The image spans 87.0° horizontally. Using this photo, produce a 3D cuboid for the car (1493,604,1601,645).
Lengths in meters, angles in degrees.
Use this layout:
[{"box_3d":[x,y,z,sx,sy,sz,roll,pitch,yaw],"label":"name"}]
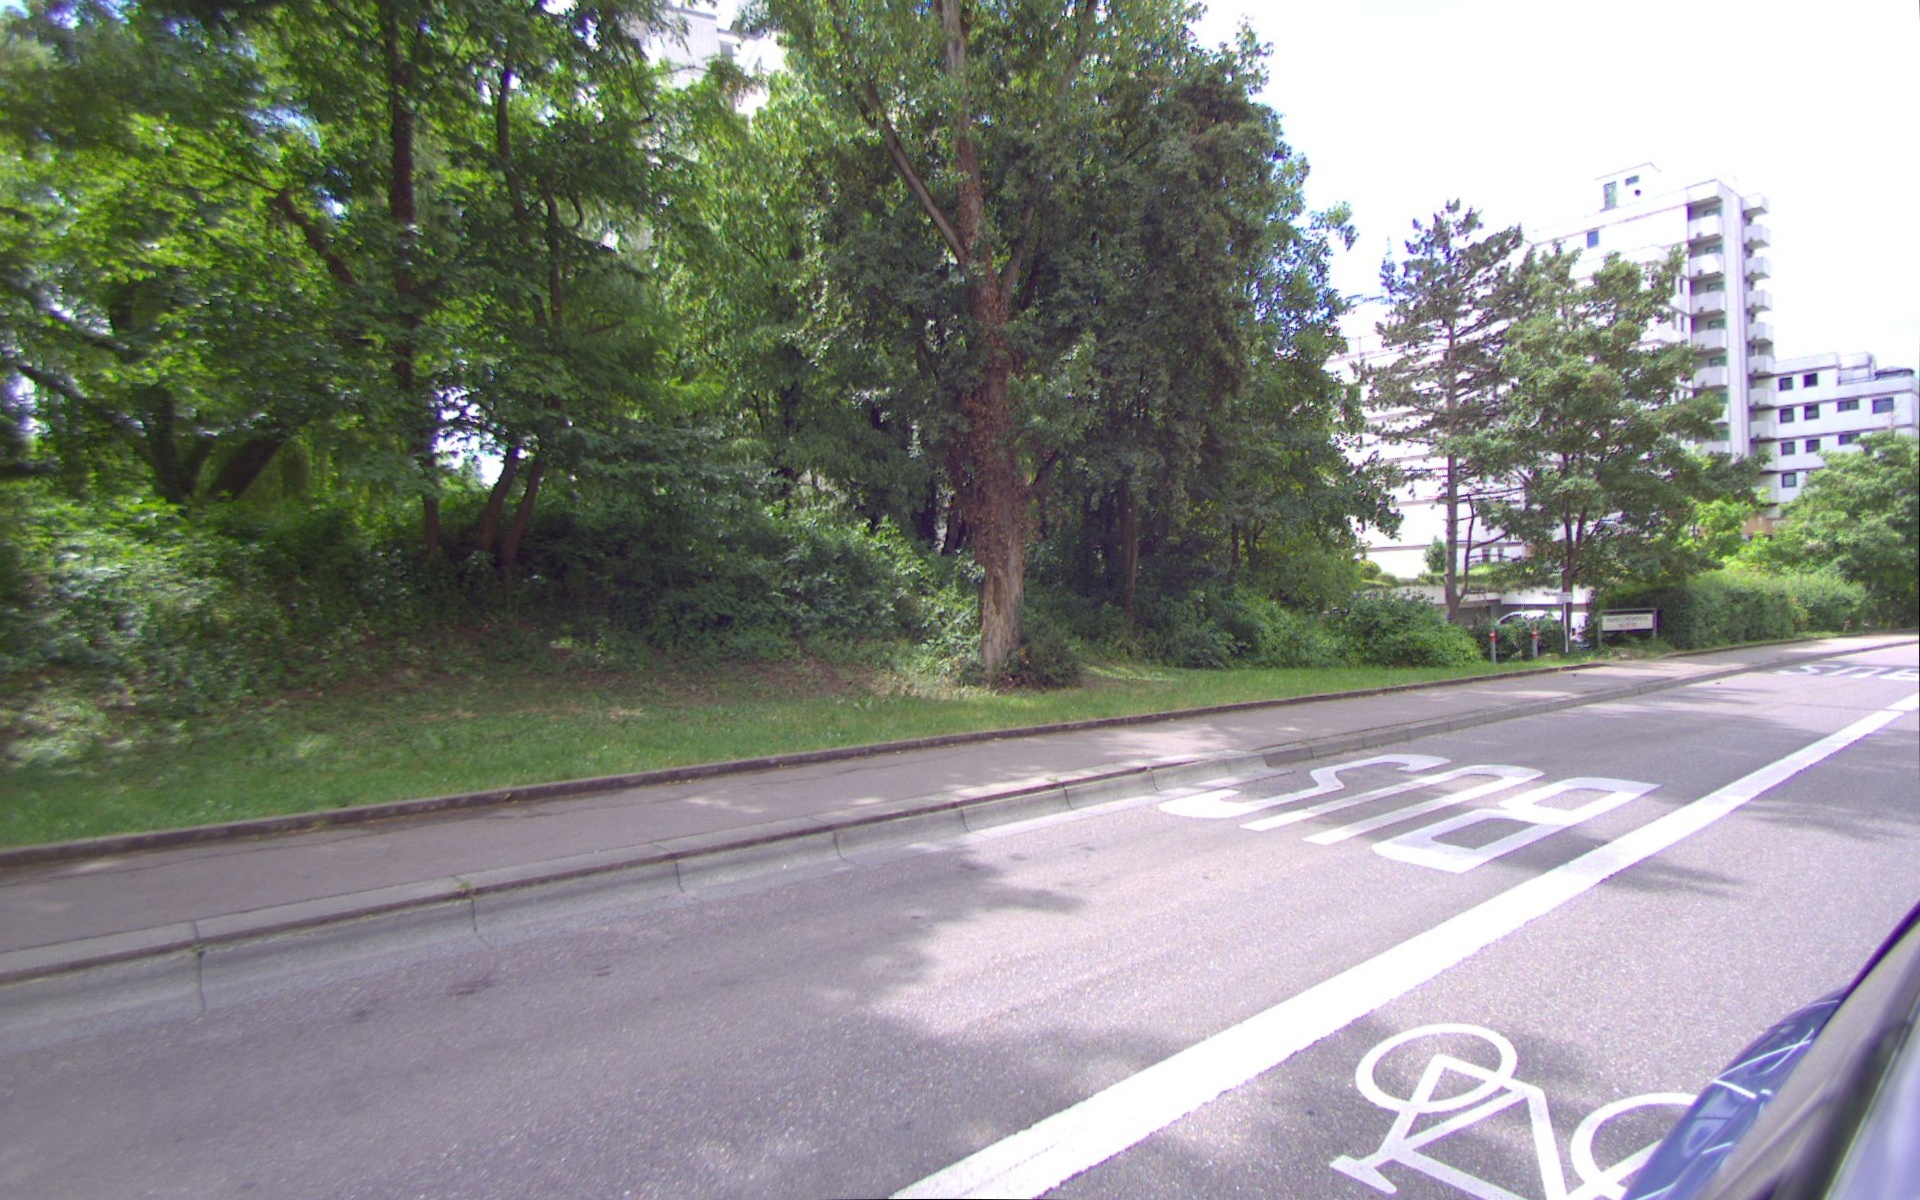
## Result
[{"box_3d":[31.040,1.226,53.639,1.962,2.039,4.549,-1,0,-34],"label":"car"}]
